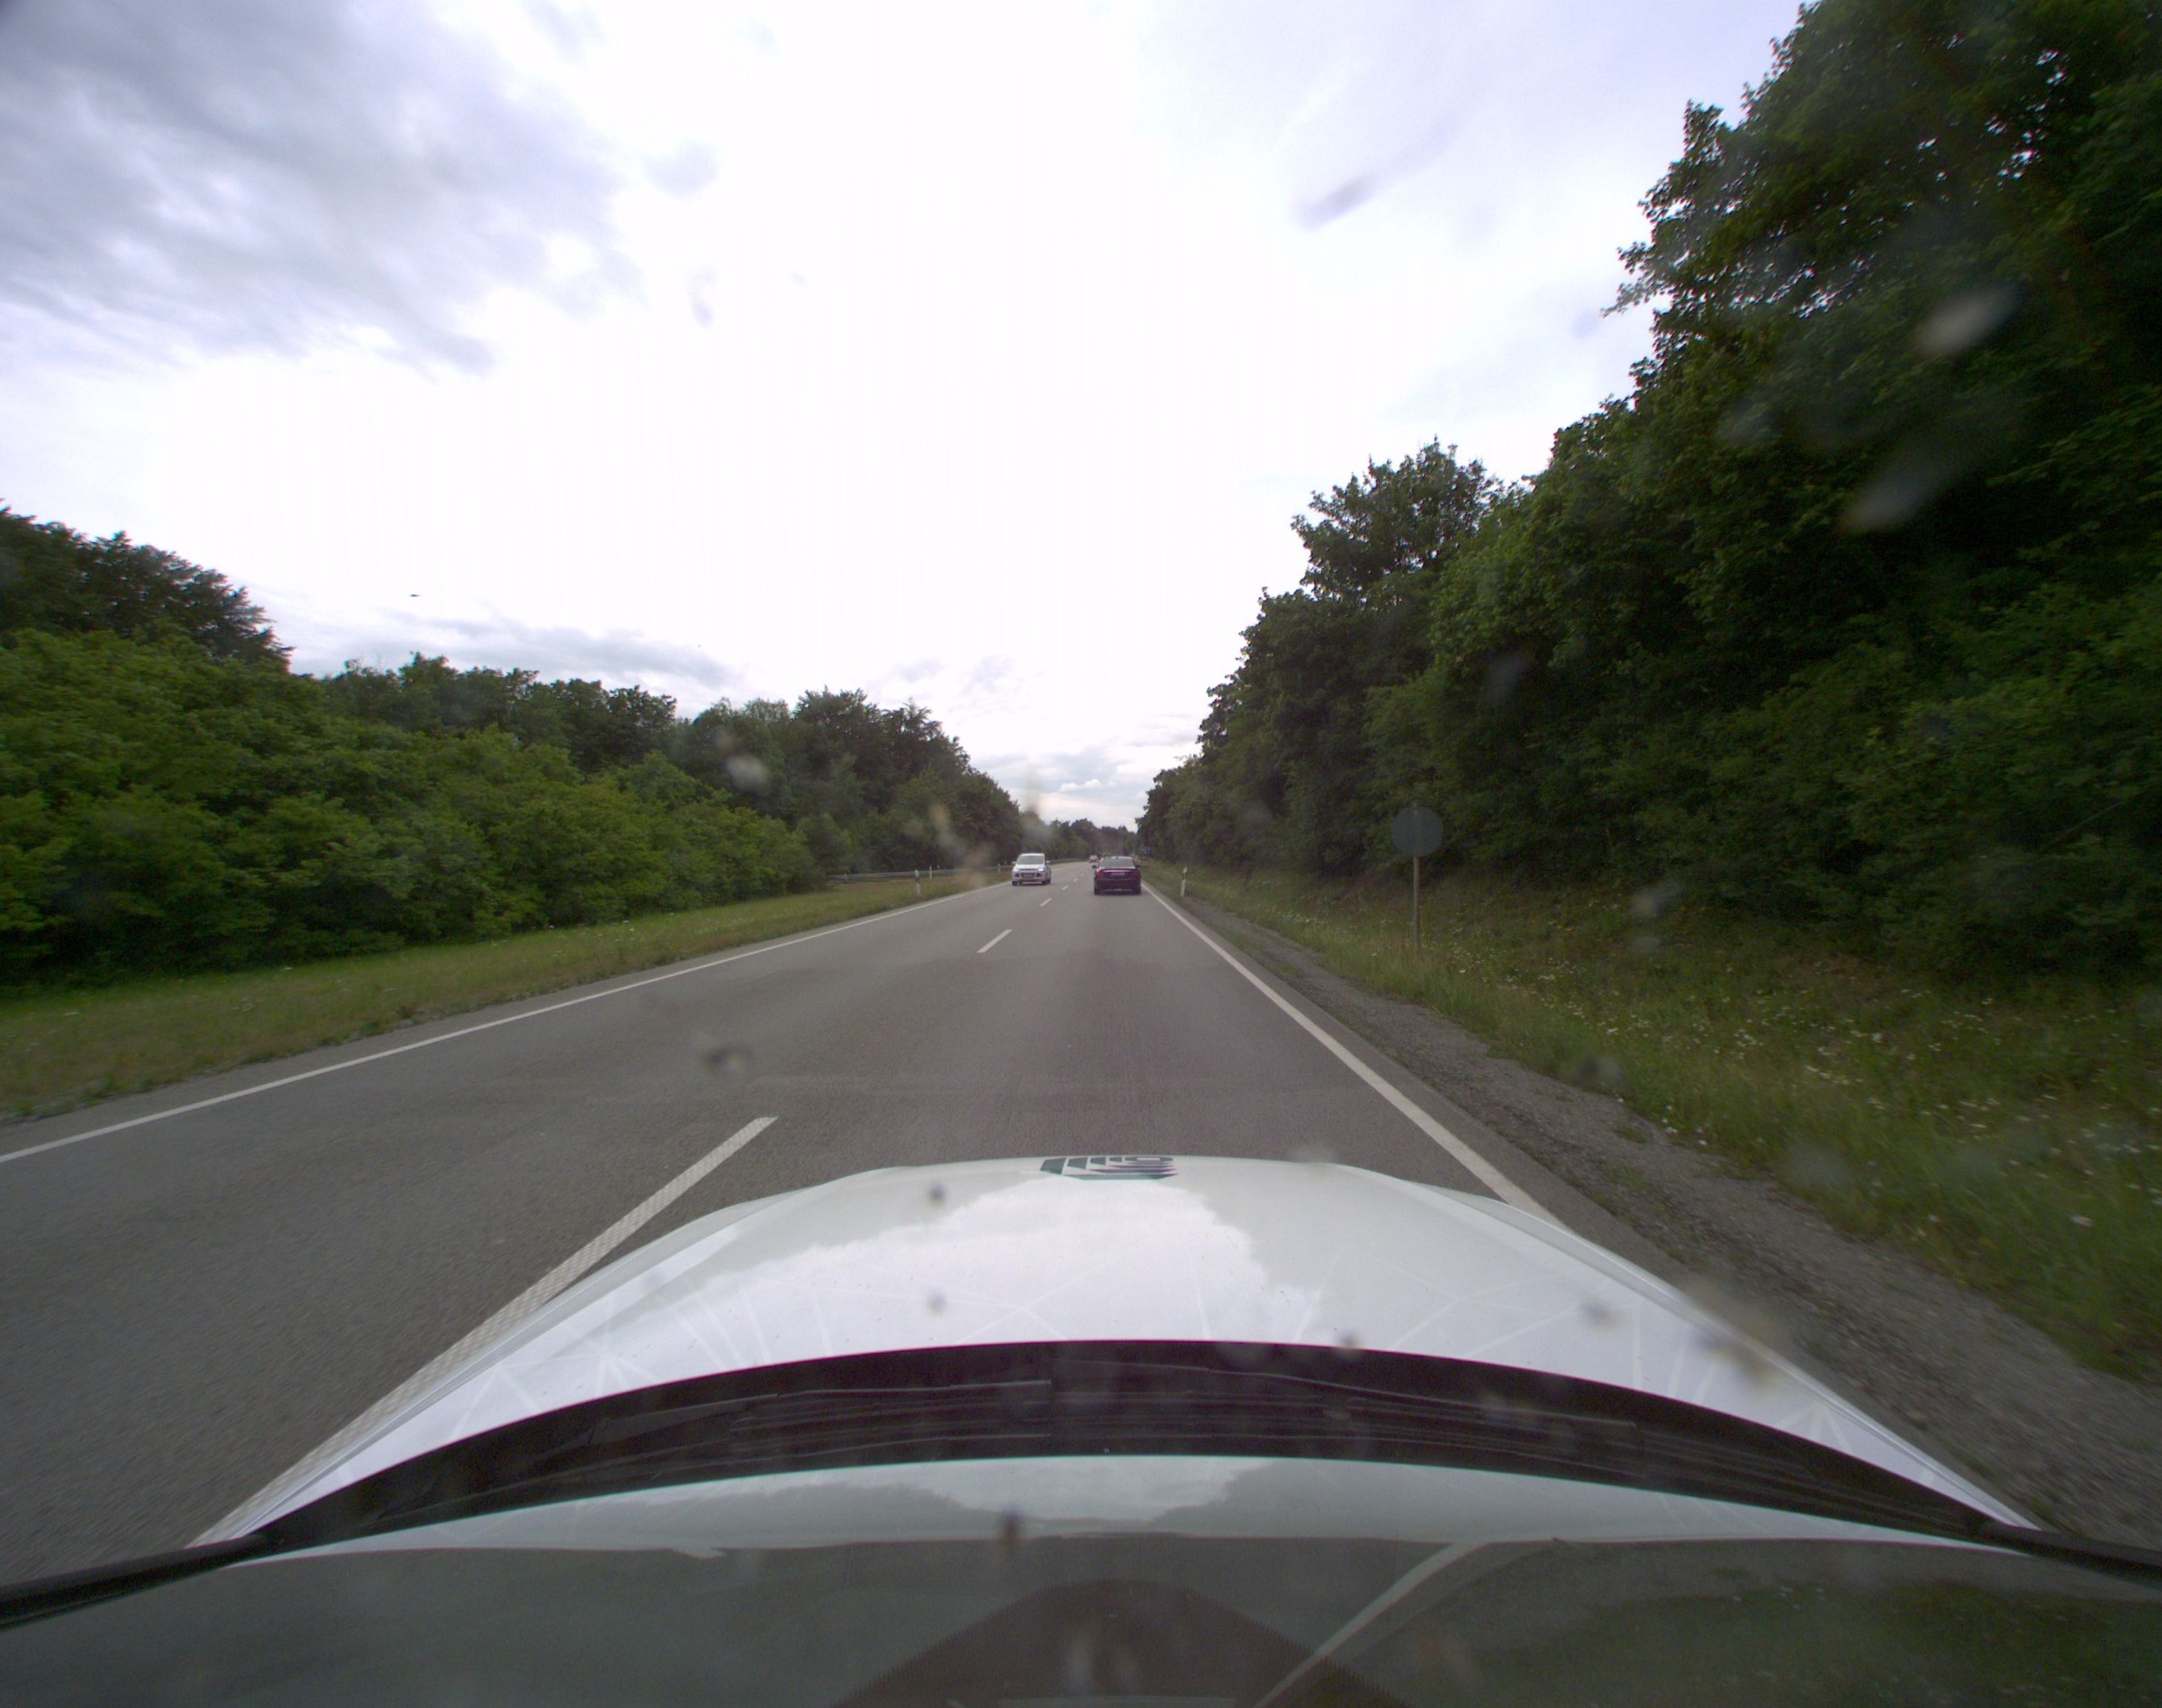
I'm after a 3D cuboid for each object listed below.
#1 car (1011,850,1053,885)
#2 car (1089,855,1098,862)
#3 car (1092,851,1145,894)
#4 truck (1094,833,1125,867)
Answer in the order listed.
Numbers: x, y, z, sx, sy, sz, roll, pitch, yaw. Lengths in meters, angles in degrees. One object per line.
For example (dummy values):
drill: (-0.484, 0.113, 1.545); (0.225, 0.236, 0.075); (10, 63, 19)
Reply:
car: (-2.589, 0.686, 44.274); (1.906, 1.780, 4.613); (-1, 0, 1)
car: (2.585, 0.975, 169.028); (1.802, 1.442, 4.447); (-1, 0, 0)
car: (1.428, 0.697, 32.363); (1.786, 1.552, 3.997); (-1, 0, -2)
truck: (3.261, -0.422, 92.235); (3.268, 3.611, 11.407); (-1, 0, 3)
